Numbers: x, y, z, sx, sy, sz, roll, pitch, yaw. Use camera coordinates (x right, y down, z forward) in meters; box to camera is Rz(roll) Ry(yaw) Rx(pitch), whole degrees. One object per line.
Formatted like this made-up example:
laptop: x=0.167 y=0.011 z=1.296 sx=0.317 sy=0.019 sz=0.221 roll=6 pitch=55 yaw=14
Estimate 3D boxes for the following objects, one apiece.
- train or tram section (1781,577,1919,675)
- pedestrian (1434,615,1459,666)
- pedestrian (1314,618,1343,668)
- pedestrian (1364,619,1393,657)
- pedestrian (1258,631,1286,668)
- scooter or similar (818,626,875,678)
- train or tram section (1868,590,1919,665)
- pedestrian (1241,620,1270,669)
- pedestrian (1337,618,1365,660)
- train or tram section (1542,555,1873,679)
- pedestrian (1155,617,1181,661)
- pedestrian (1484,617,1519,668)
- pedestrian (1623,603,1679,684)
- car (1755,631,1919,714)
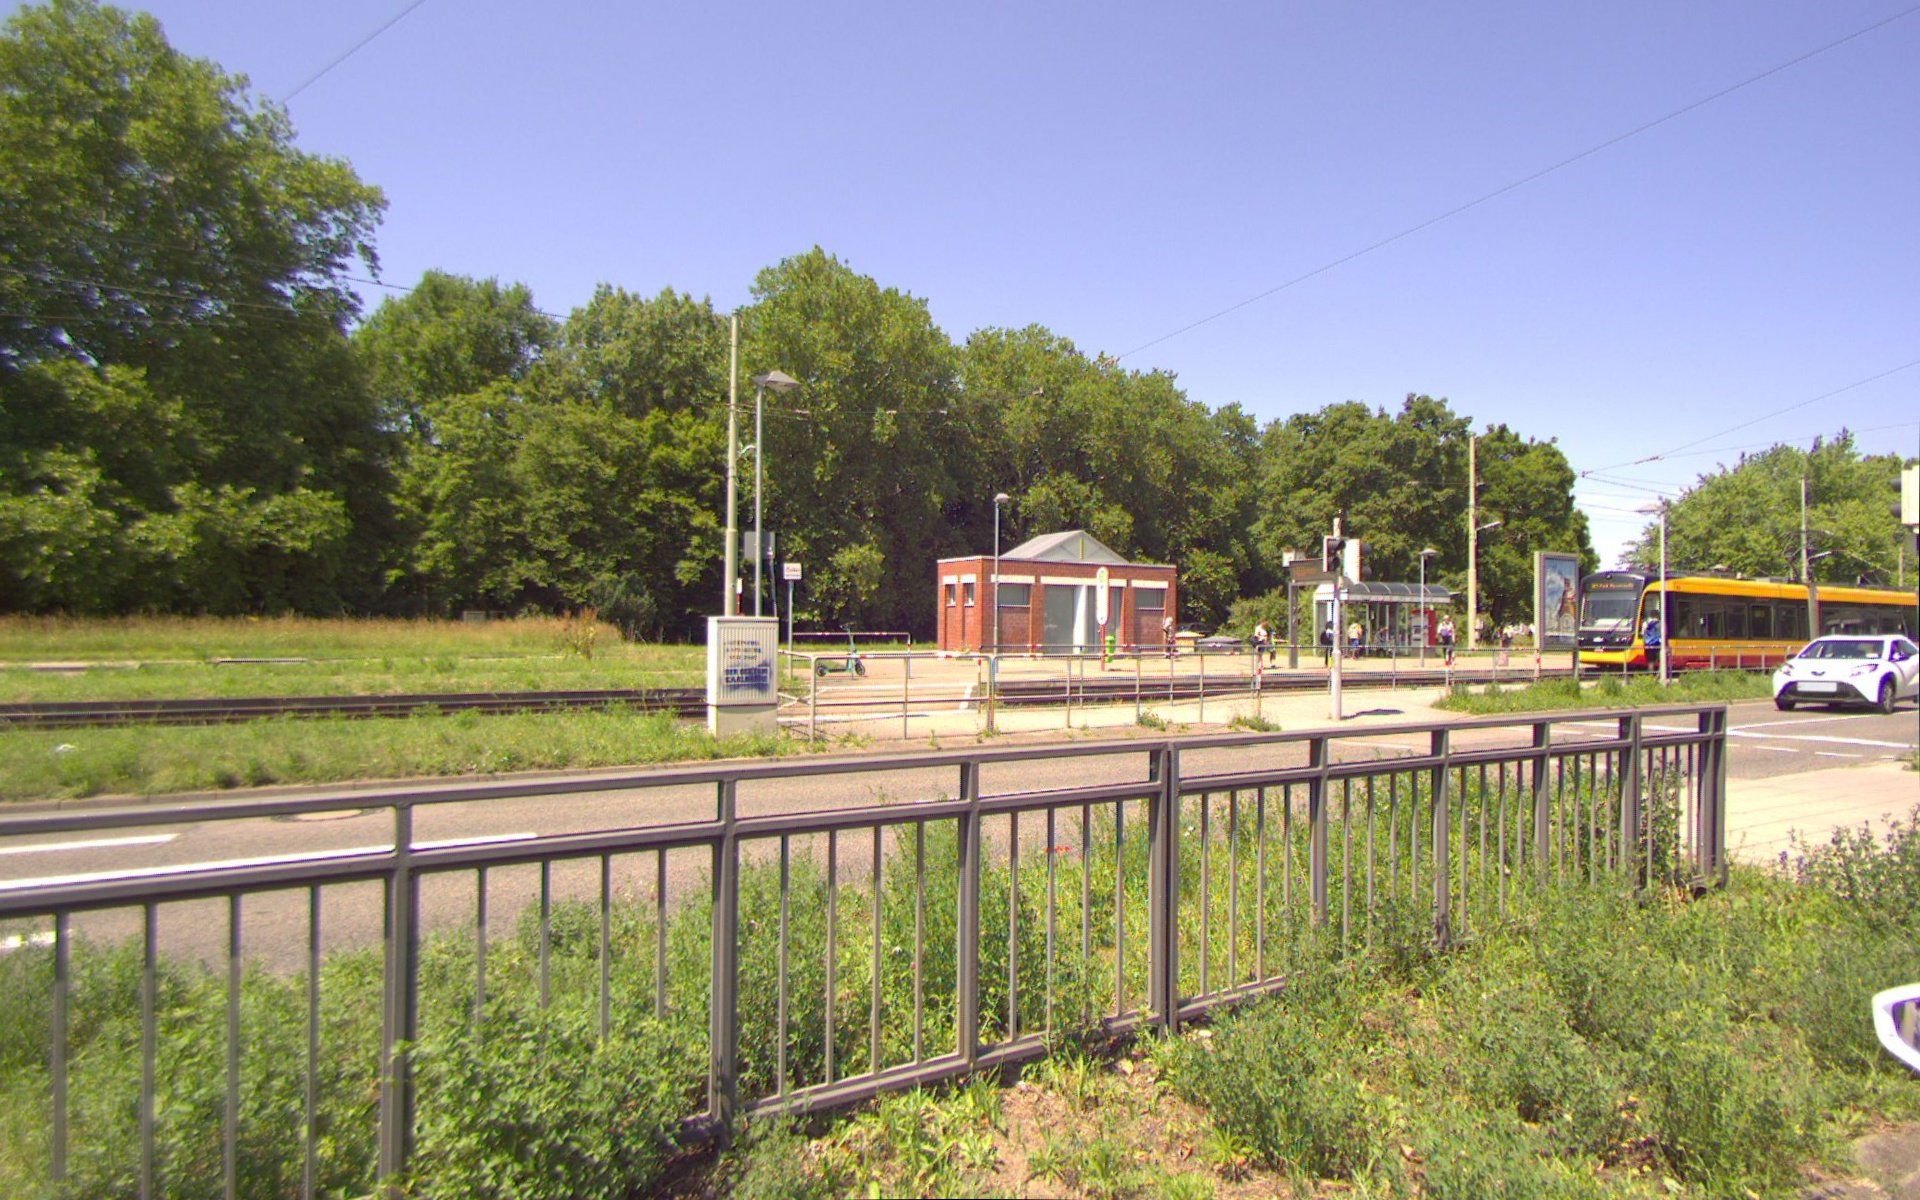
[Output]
train or tram section: x=44.083 y=1.282 z=47.837 sx=18.320 sy=3.984 sz=3.194 roll=2 pitch=-1 yaw=-36
pedestrian: x=17.992 y=1.489 z=37.170 sx=0.707 sy=1.824 sz=0.845 roll=0 pitch=-1 yaw=17
pedestrian: x=11.877 y=1.389 z=32.363 sx=0.688 sy=1.575 sz=0.629 roll=1 pitch=-1 yaw=-42
pedestrian: x=17.238 y=1.574 z=41.367 sx=0.710 sy=1.531 sz=0.841 roll=1 pitch=-1 yaw=-19
pedestrian: x=9.920 y=1.571 z=31.986 sx=0.563 sy=1.139 sz=0.636 roll=1 pitch=-1 yaw=-30
scooter or similar: x=-2.643 y=1.202 z=23.442 sx=1.217 sy=1.183 sz=0.508 roll=1 pitch=-1 yaw=-30
train or tram section: x=56.943 y=1.682 z=59.973 sx=3.177 sy=3.984 sz=18.415 roll=0 pitch=-1 yaw=40
pedestrian: x=9.208 y=1.381 z=31.277 sx=0.576 sy=1.476 sz=0.636 roll=1 pitch=-1 yaw=-30
pedestrian: x=15.074 y=1.497 z=38.709 sx=0.799 sy=1.611 sz=0.668 roll=1 pitch=-1 yaw=-30
train or tram section: x=28.955 y=0.750 z=38.200 sx=18.281 sy=3.984 sz=3.200 roll=1 pitch=-1 yaw=-30
pedestrian: x=7.142 y=1.331 z=34.495 sx=0.563 sy=1.499 sz=0.636 roll=1 pitch=-1 yaw=-30
pedestrian: x=20.026 y=1.550 z=37.147 sx=0.832 sy=1.802 sz=0.714 roll=-1 pitch=5 yaw=-30
pedestrian: x=16.365 y=1.014 z=23.787 sx=0.832 sy=1.802 sz=0.714 roll=-1 pitch=5 yaw=-30
car: x=18.095 y=1.410 z=20.402 sx=3.747 sy=1.514 sz=1.836 roll=1 pitch=-1 yaw=-30
